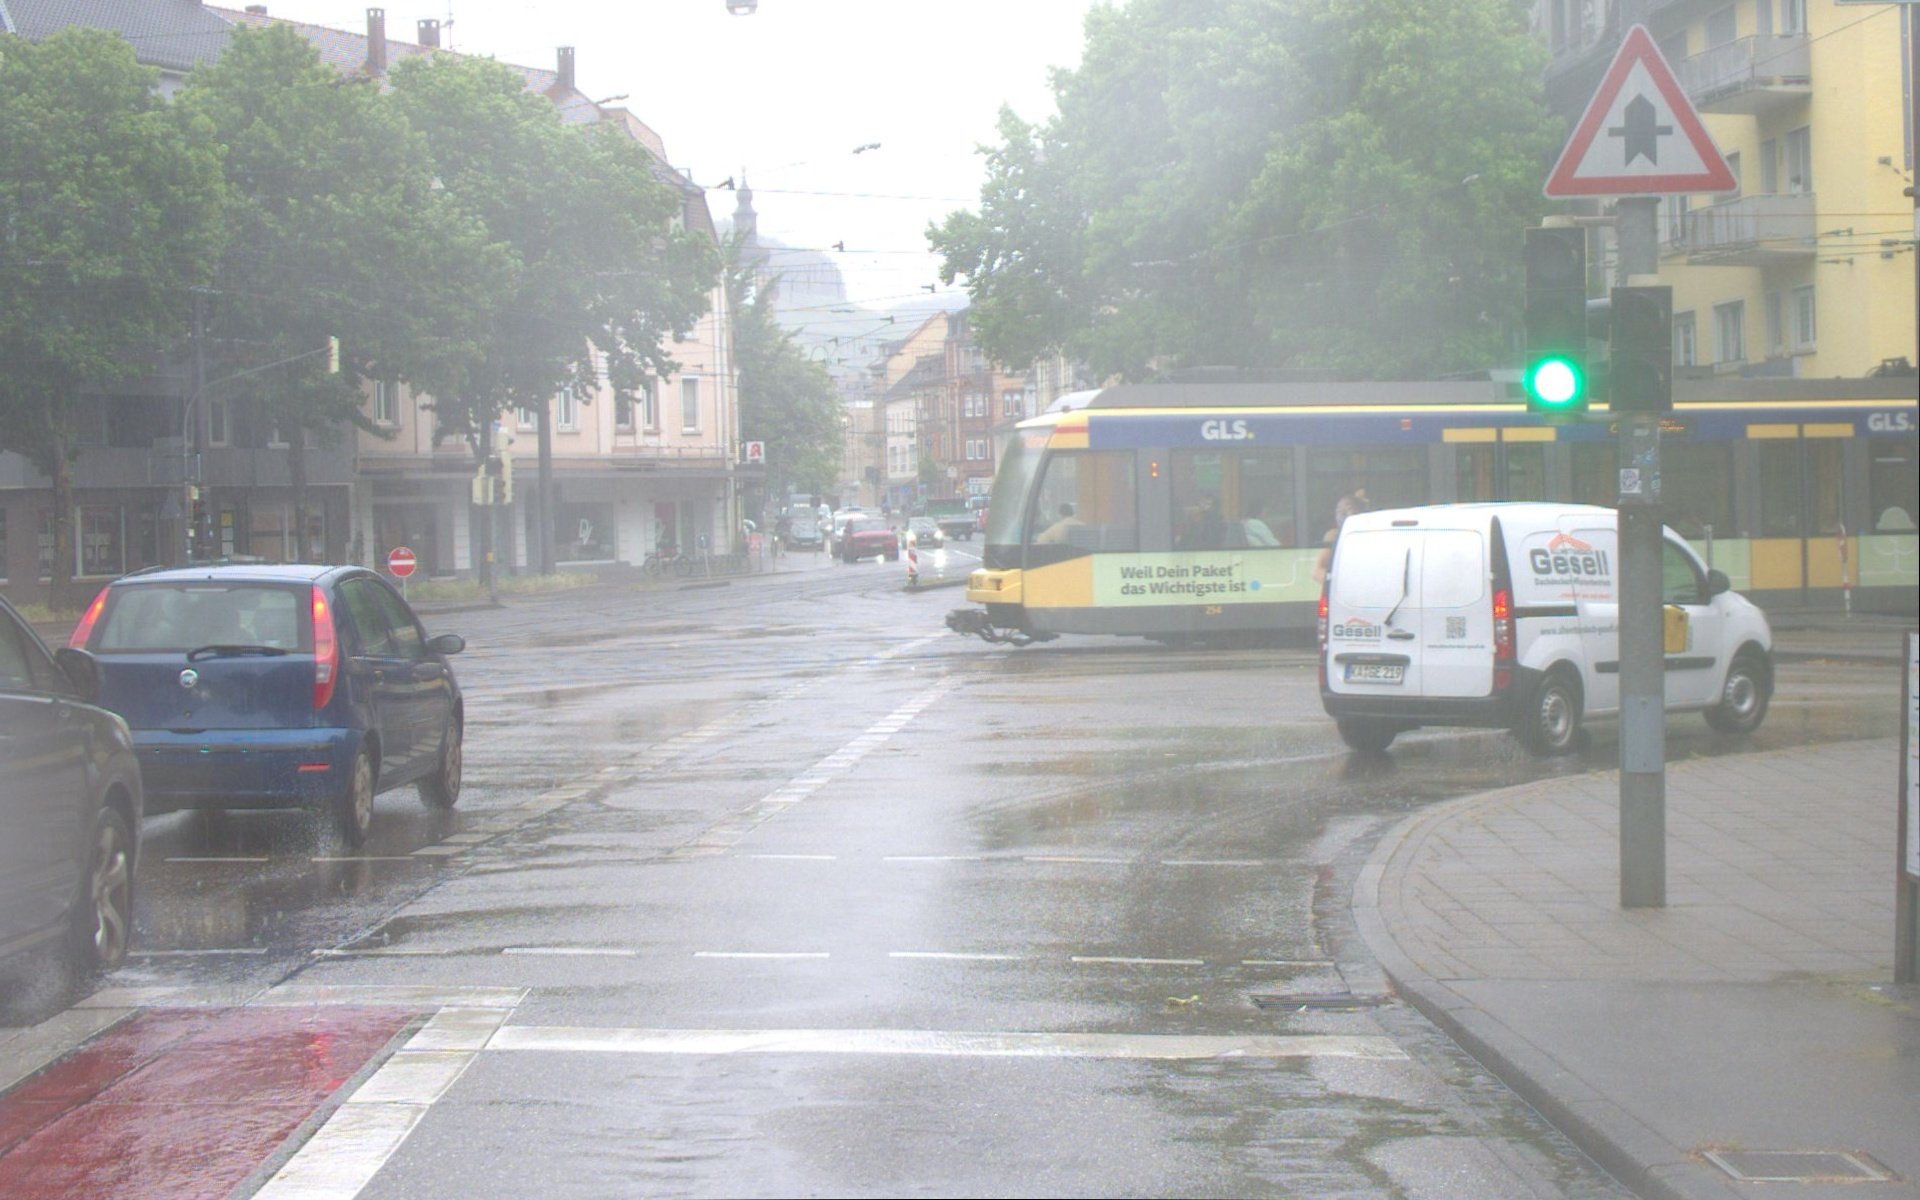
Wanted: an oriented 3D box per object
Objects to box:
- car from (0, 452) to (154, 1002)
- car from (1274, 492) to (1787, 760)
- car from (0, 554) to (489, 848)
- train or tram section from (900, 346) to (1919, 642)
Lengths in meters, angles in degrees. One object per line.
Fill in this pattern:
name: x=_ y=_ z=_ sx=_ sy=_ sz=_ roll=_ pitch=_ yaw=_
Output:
car: x=-3.875 y=0.398 z=10.506 sx=1.801 sy=1.703 sz=4.191 roll=0 pitch=2 yaw=0
car: x=4.314 y=0.112 z=25.597 sx=1.908 sy=1.791 sz=4.104 roll=2 pitch=3 yaw=41
car: x=-3.818 y=0.535 z=18.965 sx=1.882 sy=1.454 sz=3.831 roll=0 pitch=-1 yaw=0
train or tram section: x=6.647 y=-1.408 z=44.635 sx=14.525 sy=3.546 sz=3.117 roll=-1 pitch=2 yaw=-15
